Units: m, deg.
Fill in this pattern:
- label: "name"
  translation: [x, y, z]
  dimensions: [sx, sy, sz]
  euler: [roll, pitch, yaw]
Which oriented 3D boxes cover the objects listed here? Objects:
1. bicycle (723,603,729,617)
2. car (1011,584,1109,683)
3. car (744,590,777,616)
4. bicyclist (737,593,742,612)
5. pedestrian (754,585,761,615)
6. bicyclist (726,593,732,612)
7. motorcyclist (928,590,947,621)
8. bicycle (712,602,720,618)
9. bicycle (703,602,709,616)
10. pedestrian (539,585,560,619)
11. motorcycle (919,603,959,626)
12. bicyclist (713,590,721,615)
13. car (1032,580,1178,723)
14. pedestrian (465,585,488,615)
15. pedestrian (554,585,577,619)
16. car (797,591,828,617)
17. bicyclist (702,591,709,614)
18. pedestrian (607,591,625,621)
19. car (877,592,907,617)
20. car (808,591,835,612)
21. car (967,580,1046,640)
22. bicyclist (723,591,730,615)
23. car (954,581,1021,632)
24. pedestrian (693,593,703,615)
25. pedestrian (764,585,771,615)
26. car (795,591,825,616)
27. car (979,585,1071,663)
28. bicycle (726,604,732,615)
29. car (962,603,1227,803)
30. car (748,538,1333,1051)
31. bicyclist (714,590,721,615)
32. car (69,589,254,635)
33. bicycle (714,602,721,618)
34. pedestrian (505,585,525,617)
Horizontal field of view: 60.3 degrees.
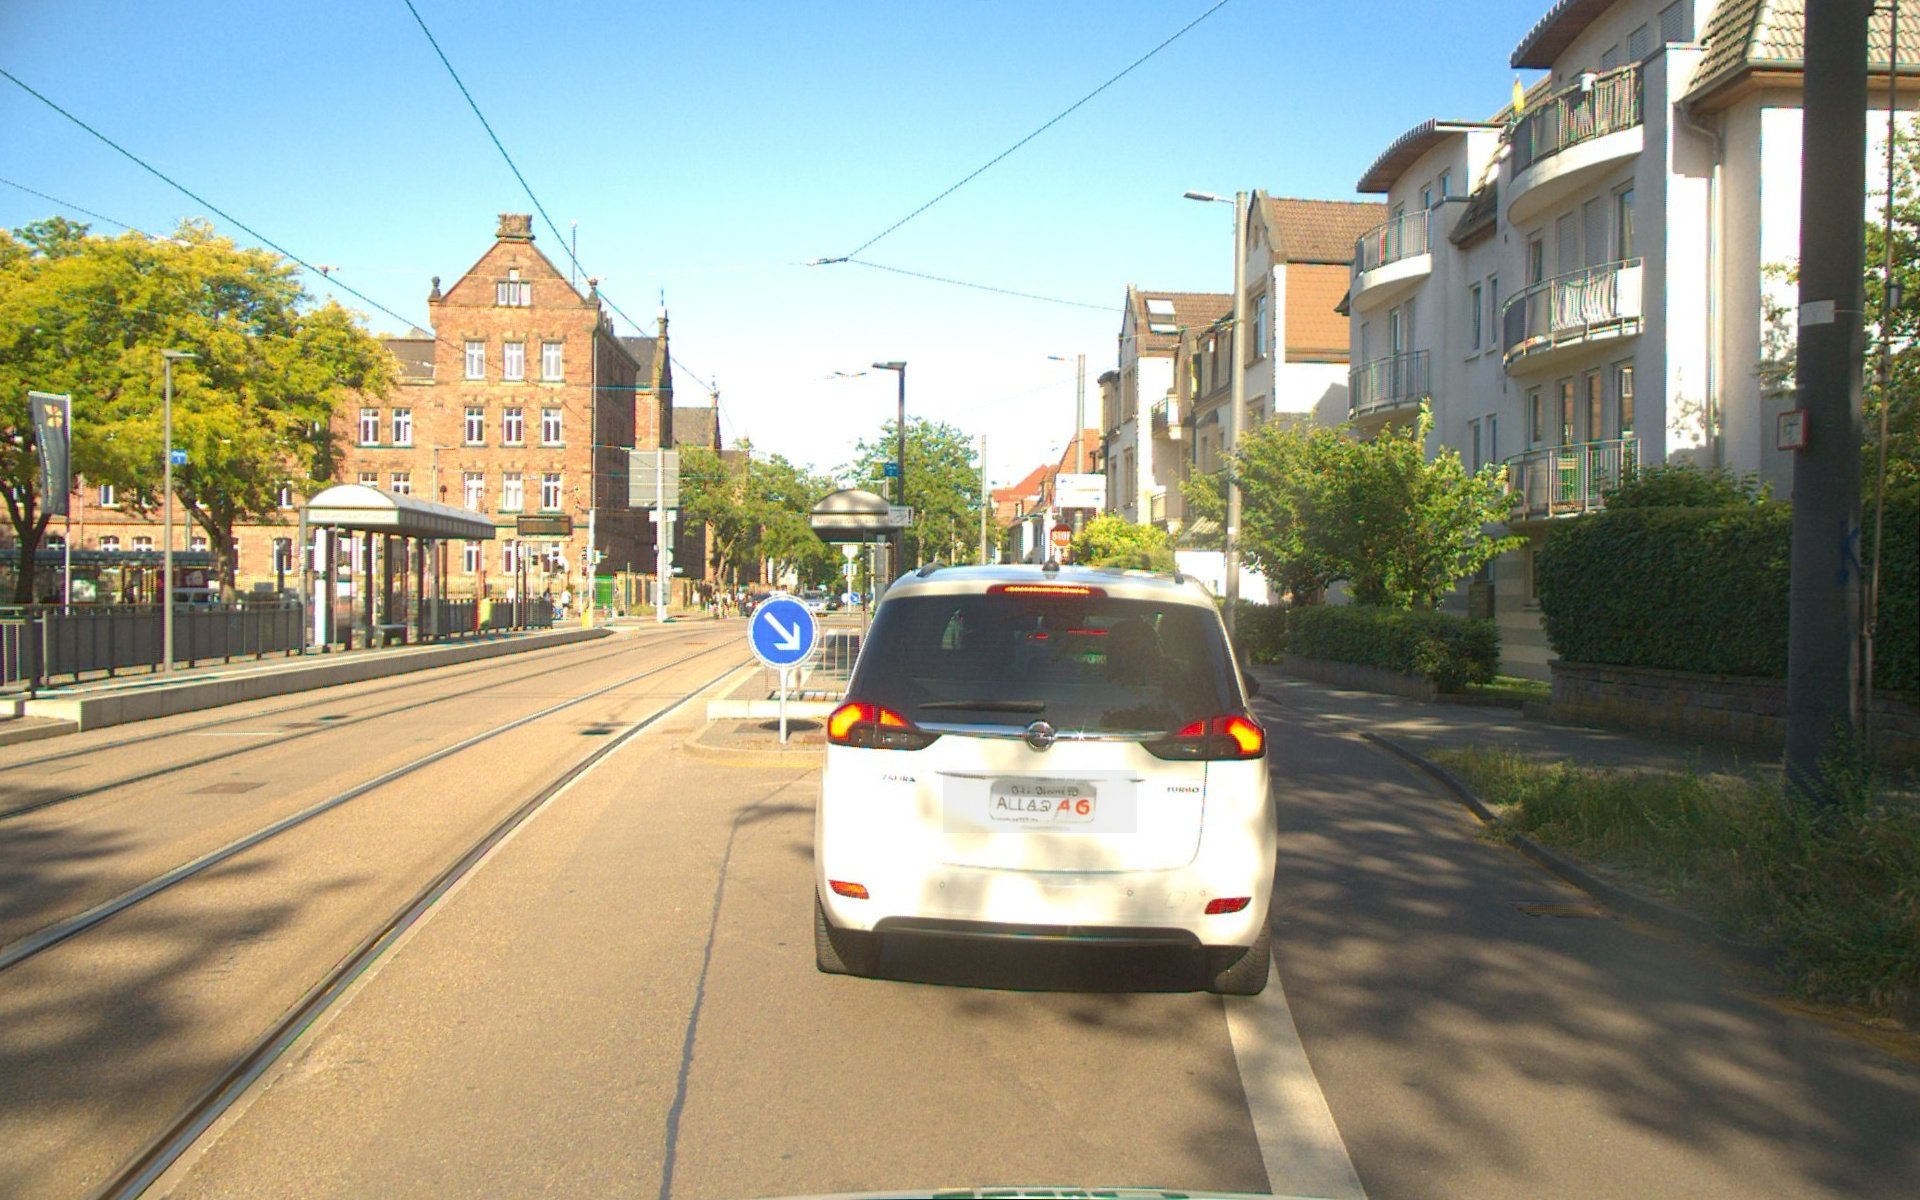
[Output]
- label: "bicycle"
  translation: [-15.395, 0.657, 108.908]
  dimensions: [0.337, 0.966, 0.996]
  euler: [1, 0, -4]
- label: "car"
  translation: [1.711, 0.548, 29.262]
  dimensions: [1.603, 1.629, 3.855]
  euler: [0, 0, 1]
- label: "car"
  translation: [-12.858, 0.180, 106.877]
  dimensions: [1.955, 1.657, 3.996]
  euler: [0, 0, -5]
- label: "bicyclist"
  translation: [-15.643, 0.164, 117.218]
  dimensions: [0.352, 1.326, 0.397]
  euler: [0, 0, -4]
- label: "pedestrian"
  translation: [-13.648, -0.010, 111.726]
  dimensions: [0.435, 2.049, 0.495]
  euler: [0, 0, -4]
- label: "bicyclist"
  translation: [-16.323, 0.173, 116.987]
  dimensions: [0.337, 1.343, 0.404]
  euler: [1, -1, -4]
- label: "motorcyclist"
  translation: [-1.189, 0.286, 87.281]
  dimensions: [0.832, 1.650, 0.610]
  euler: [0, 0, -27]
- label: "bicycle"
  translation: [-15.164, 0.637, 102.830]
  dimensions: [0.337, 0.966, 1.159]
  euler: [1, 0, -4]
- label: "bicycle"
  translation: [-17.657, 0.642, 114.849]
  dimensions: [0.337, 0.966, 0.996]
  euler: [1, 0, -4]
- label: "pedestrian"
  translation: [-21.011, 0.102, 84.657]
  dimensions: [0.825, 1.721, 1.029]
  euler: [1, 0, -1]
- label: "motorcycle"
  translation: [-1.091, 0.774, 87.334]
  dimensions: [2.044, 1.219, 0.608]
  euler: [0, 0, -28]
- label: "bicyclist"
  translation: [-15.155, 0.161, 103.039]
  dimensions: [0.435, 1.580, 0.742]
  euler: [0, 0, -4]
- label: "car"
  translation: [1.737, 0.584, 20.834]
  dimensions: [1.603, 1.629, 3.855]
  euler: [0, 0, 1]
- label: "pedestrian"
  translation: [-25.820, 0.004, 88.338]
  dimensions: [0.912, 1.616, 0.805]
  euler: [1, -1, 7]
- label: "pedestrian"
  translation: [-20.006, 0.109, 83.858]
  dimensions: [0.877, 1.713, 1.029]
  euler: [1, 0, -1]
- label: "car"
  translation: [-9.548, 0.230, 107.150]
  dimensions: [1.955, 1.657, 3.996]
  euler: [0, 0, -5]
- label: "bicyclist"
  translation: [-17.650, 0.166, 114.813]
  dimensions: [0.435, 1.580, 0.495]
  euler: [0, 0, -4]
- label: "pedestrian"
  translation: [-20.018, 0.329, 96.161]
  dimensions: [0.719, 1.744, 0.706]
  euler: [1, -1, 22]
- label: "car"
  translation: [-4.569, 0.285, 110.842]
  dimensions: [1.954, 1.657, 3.997]
  euler: [0, 0, -4]
- label: "car"
  translation: [-10.942, 0.123, 130.474]
  dimensions: [1.953, 1.657, 3.998]
  euler: [0, 0, -3]
- label: "car"
  translation: [1.197, 0.253, 44.303]
  dimensions: [1.953, 1.529, 3.999]
  euler: [0, 0, -1]
- label: "bicyclist"
  translation: [-15.385, 0.182, 108.902]
  dimensions: [0.435, 1.580, 0.495]
  euler: [0, 0, -4]
- label: "car"
  translation: [0.827, 0.186, 51.758]
  dimensions: [1.953, 1.529, 3.999]
  euler: [0, 0, -1]
- label: "pedestrian"
  translation: [-21.109, 0.320, 133.418]
  dimensions: [0.720, 1.744, 0.753]
  euler: [1, -1, -6]
- label: "pedestrian"
  translation: [-13.053, 0.001, 112.042]
  dimensions: [0.435, 2.049, 0.495]
  euler: [0, 0, -4]
- label: "car"
  translation: [-10.352, 0.245, 114.244]
  dimensions: [1.955, 1.657, 3.996]
  euler: [0, 0, -5]
- label: "car"
  translation: [1.376, 0.489, 36.181]
  dimensions: [1.793, 1.607, 4.009]
  euler: [0, 0, -1]
- label: "bicycle"
  translation: [-16.336, 0.657, 116.979]
  dimensions: [0.337, 0.737, 0.996]
  euler: [1, 0, -4]
- label: "car"
  translation: [1.028, 0.747, 13.975]
  dimensions: [1.912, 1.422, 4.001]
  euler: [0, 0, 1]
- label: "car"
  translation: [0.453, 0.648, 7.587]
  dimensions: [1.951, 1.673, 3.996]
  euler: [1, 0, 6]
- label: "bicyclist"
  translation: [-15.576, 0.169, 106.314]
  dimensions: [0.435, 1.580, 0.495]
  euler: [0, 0, -4]
- label: "car"
  translation: [-35.728, 0.516, 74.181]
  dimensions: [6.810, 1.954, 2.991]
  euler: [0, 0, -2]
- label: "bicycle"
  translation: [-15.613, 0.643, 106.356]
  dimensions: [0.337, 0.966, 0.996]
  euler: [1, 0, -4]
- label: "pedestrian"
  translation: [-22.759, 0.042, 84.575]
  dimensions: [0.786, 1.616, 0.934]
  euler: [1, 0, -3]
